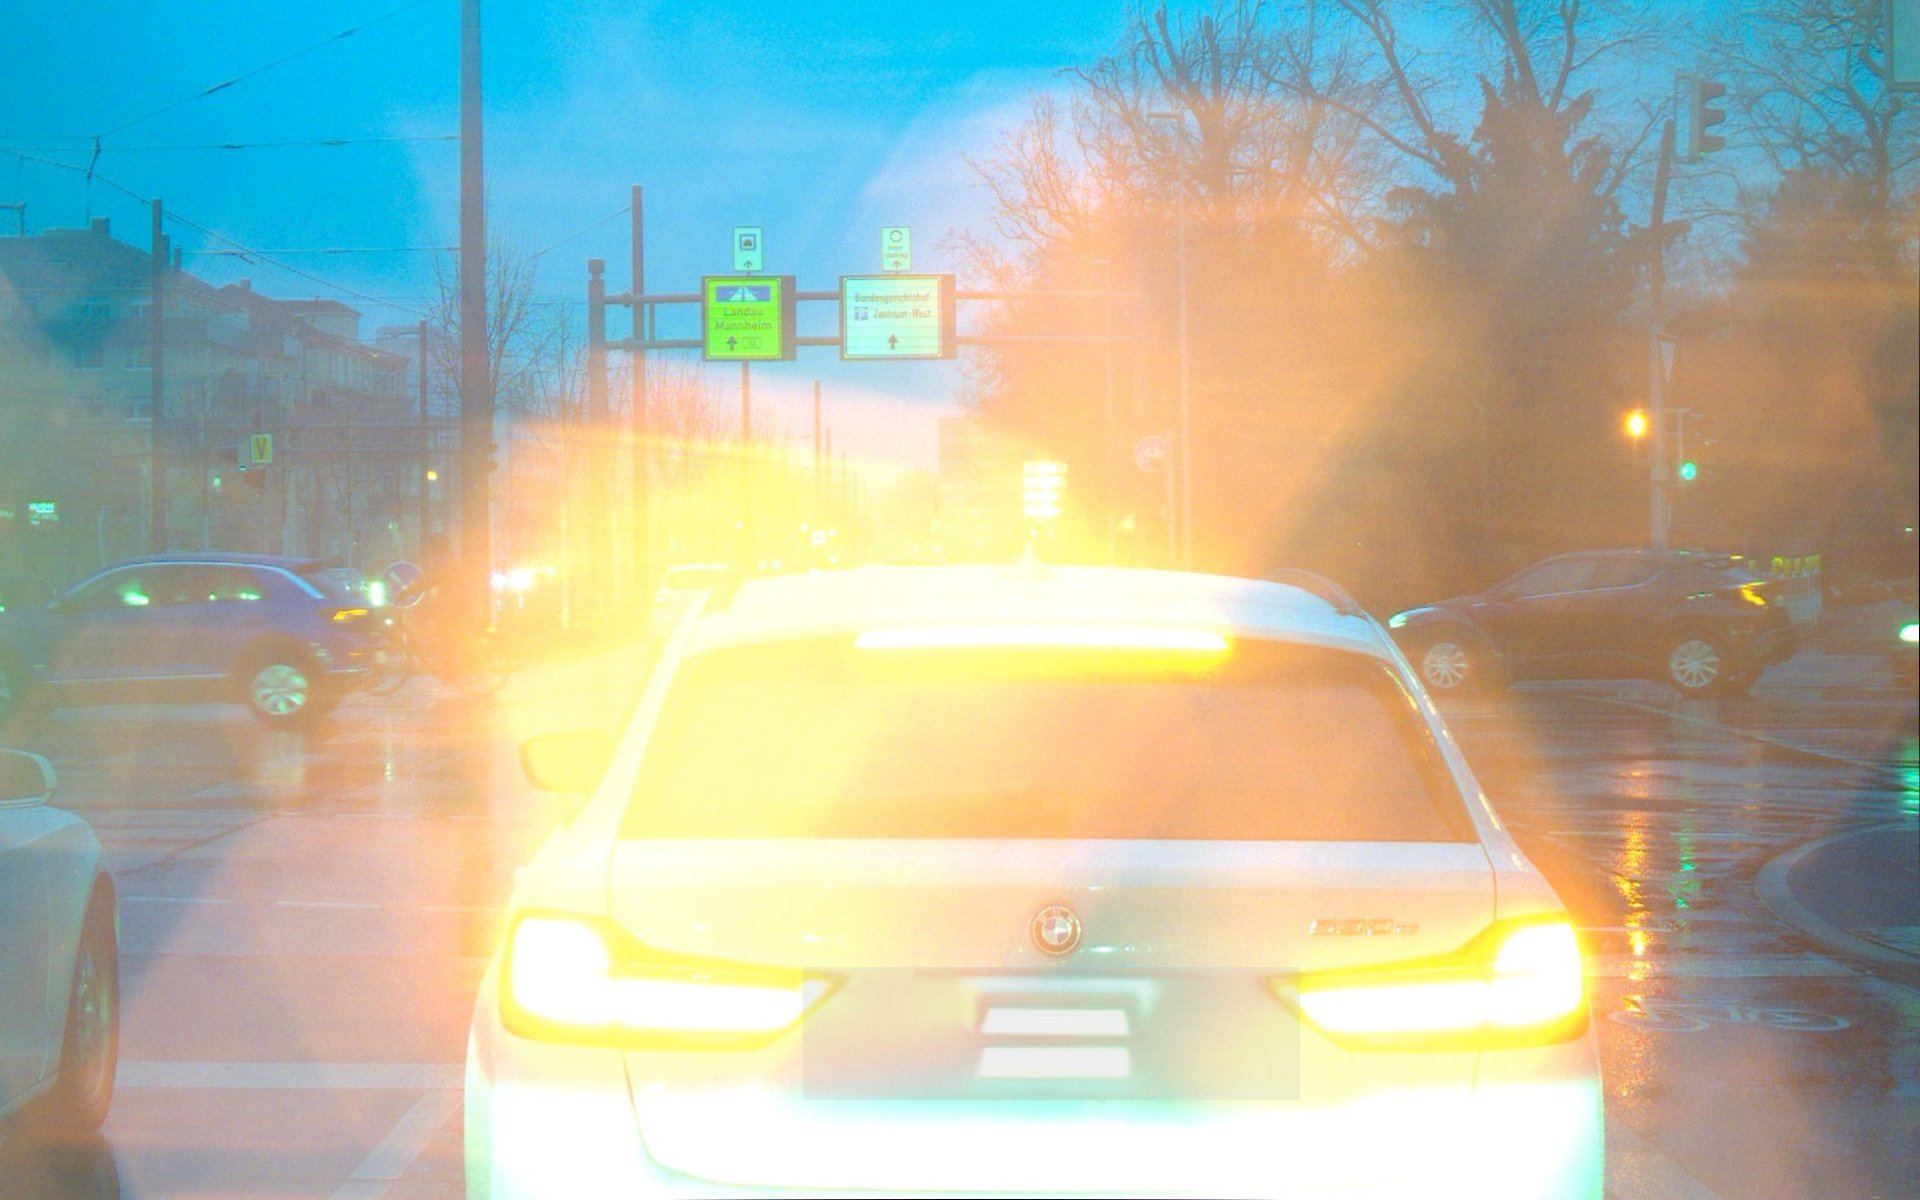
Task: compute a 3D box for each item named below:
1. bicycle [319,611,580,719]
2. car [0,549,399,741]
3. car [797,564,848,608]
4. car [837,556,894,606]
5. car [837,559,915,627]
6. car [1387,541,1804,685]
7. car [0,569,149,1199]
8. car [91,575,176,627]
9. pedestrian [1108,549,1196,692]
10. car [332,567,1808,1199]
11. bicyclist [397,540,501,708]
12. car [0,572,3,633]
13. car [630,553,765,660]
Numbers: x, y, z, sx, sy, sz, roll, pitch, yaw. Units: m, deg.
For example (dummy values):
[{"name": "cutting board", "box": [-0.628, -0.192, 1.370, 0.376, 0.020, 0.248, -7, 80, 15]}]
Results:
[{"name": "bicycle", "box": [-5.448, 0.686, 36.800, 2.666, 1.085, 0.815, 1, 0, -2]}, {"name": "car", "box": [-7.193, 0.387, 30.989, 3.986, 1.617, 1.719, 1, 0, -2]}, {"name": "car", "box": [-5.185, -0.521, 129.803, 1.843, 1.603, 3.945, 1, 0, -2]}, {"name": "car", "box": [-3.152, -0.620, 114.355, 1.843, 1.603, 3.945, 1, 0, -2]}, {"name": "car", "box": [-2.074, -0.177, 84.843, 1.843, 1.603, 3.945, 1, 0, -2]}, {"name": "car", "box": [6.706, 0.125, 36.278, 3.992, 1.397, 1.755, 1, 0, 25]}, {"name": "car", "box": [-3.086, 0.680, 7.046, 1.993, 1.451, 4.369, 0, 1, -2]}, {"name": "car", "box": [-24.711, 0.038, 102.831, 1.675, 1.502, 3.696, 1, 0, -1]}, {"name": "pedestrian", "box": [2.534, 0.270, 45.344, 0.904, 1.850, 0.811, 1, 0, 24]}, {"name": "car", "box": [0.059, 0.682, 6.828, 1.993, 1.451, 4.369, 0, 1, -2]}, {"name": "bicyclist", "box": [-5.460, 0.256, 36.804, 0.972, 1.753, 0.813, 1, 0, -1]}, {"name": "car", "box": [-24.453, 0.047, 83.062, 1.675, 1.502, 3.696, 1, 0, -1]}, {"name": "car", "box": [-4.068, 0.095, 52.809, 1.743, 1.548, 3.969, 1, 0, -8]}]
